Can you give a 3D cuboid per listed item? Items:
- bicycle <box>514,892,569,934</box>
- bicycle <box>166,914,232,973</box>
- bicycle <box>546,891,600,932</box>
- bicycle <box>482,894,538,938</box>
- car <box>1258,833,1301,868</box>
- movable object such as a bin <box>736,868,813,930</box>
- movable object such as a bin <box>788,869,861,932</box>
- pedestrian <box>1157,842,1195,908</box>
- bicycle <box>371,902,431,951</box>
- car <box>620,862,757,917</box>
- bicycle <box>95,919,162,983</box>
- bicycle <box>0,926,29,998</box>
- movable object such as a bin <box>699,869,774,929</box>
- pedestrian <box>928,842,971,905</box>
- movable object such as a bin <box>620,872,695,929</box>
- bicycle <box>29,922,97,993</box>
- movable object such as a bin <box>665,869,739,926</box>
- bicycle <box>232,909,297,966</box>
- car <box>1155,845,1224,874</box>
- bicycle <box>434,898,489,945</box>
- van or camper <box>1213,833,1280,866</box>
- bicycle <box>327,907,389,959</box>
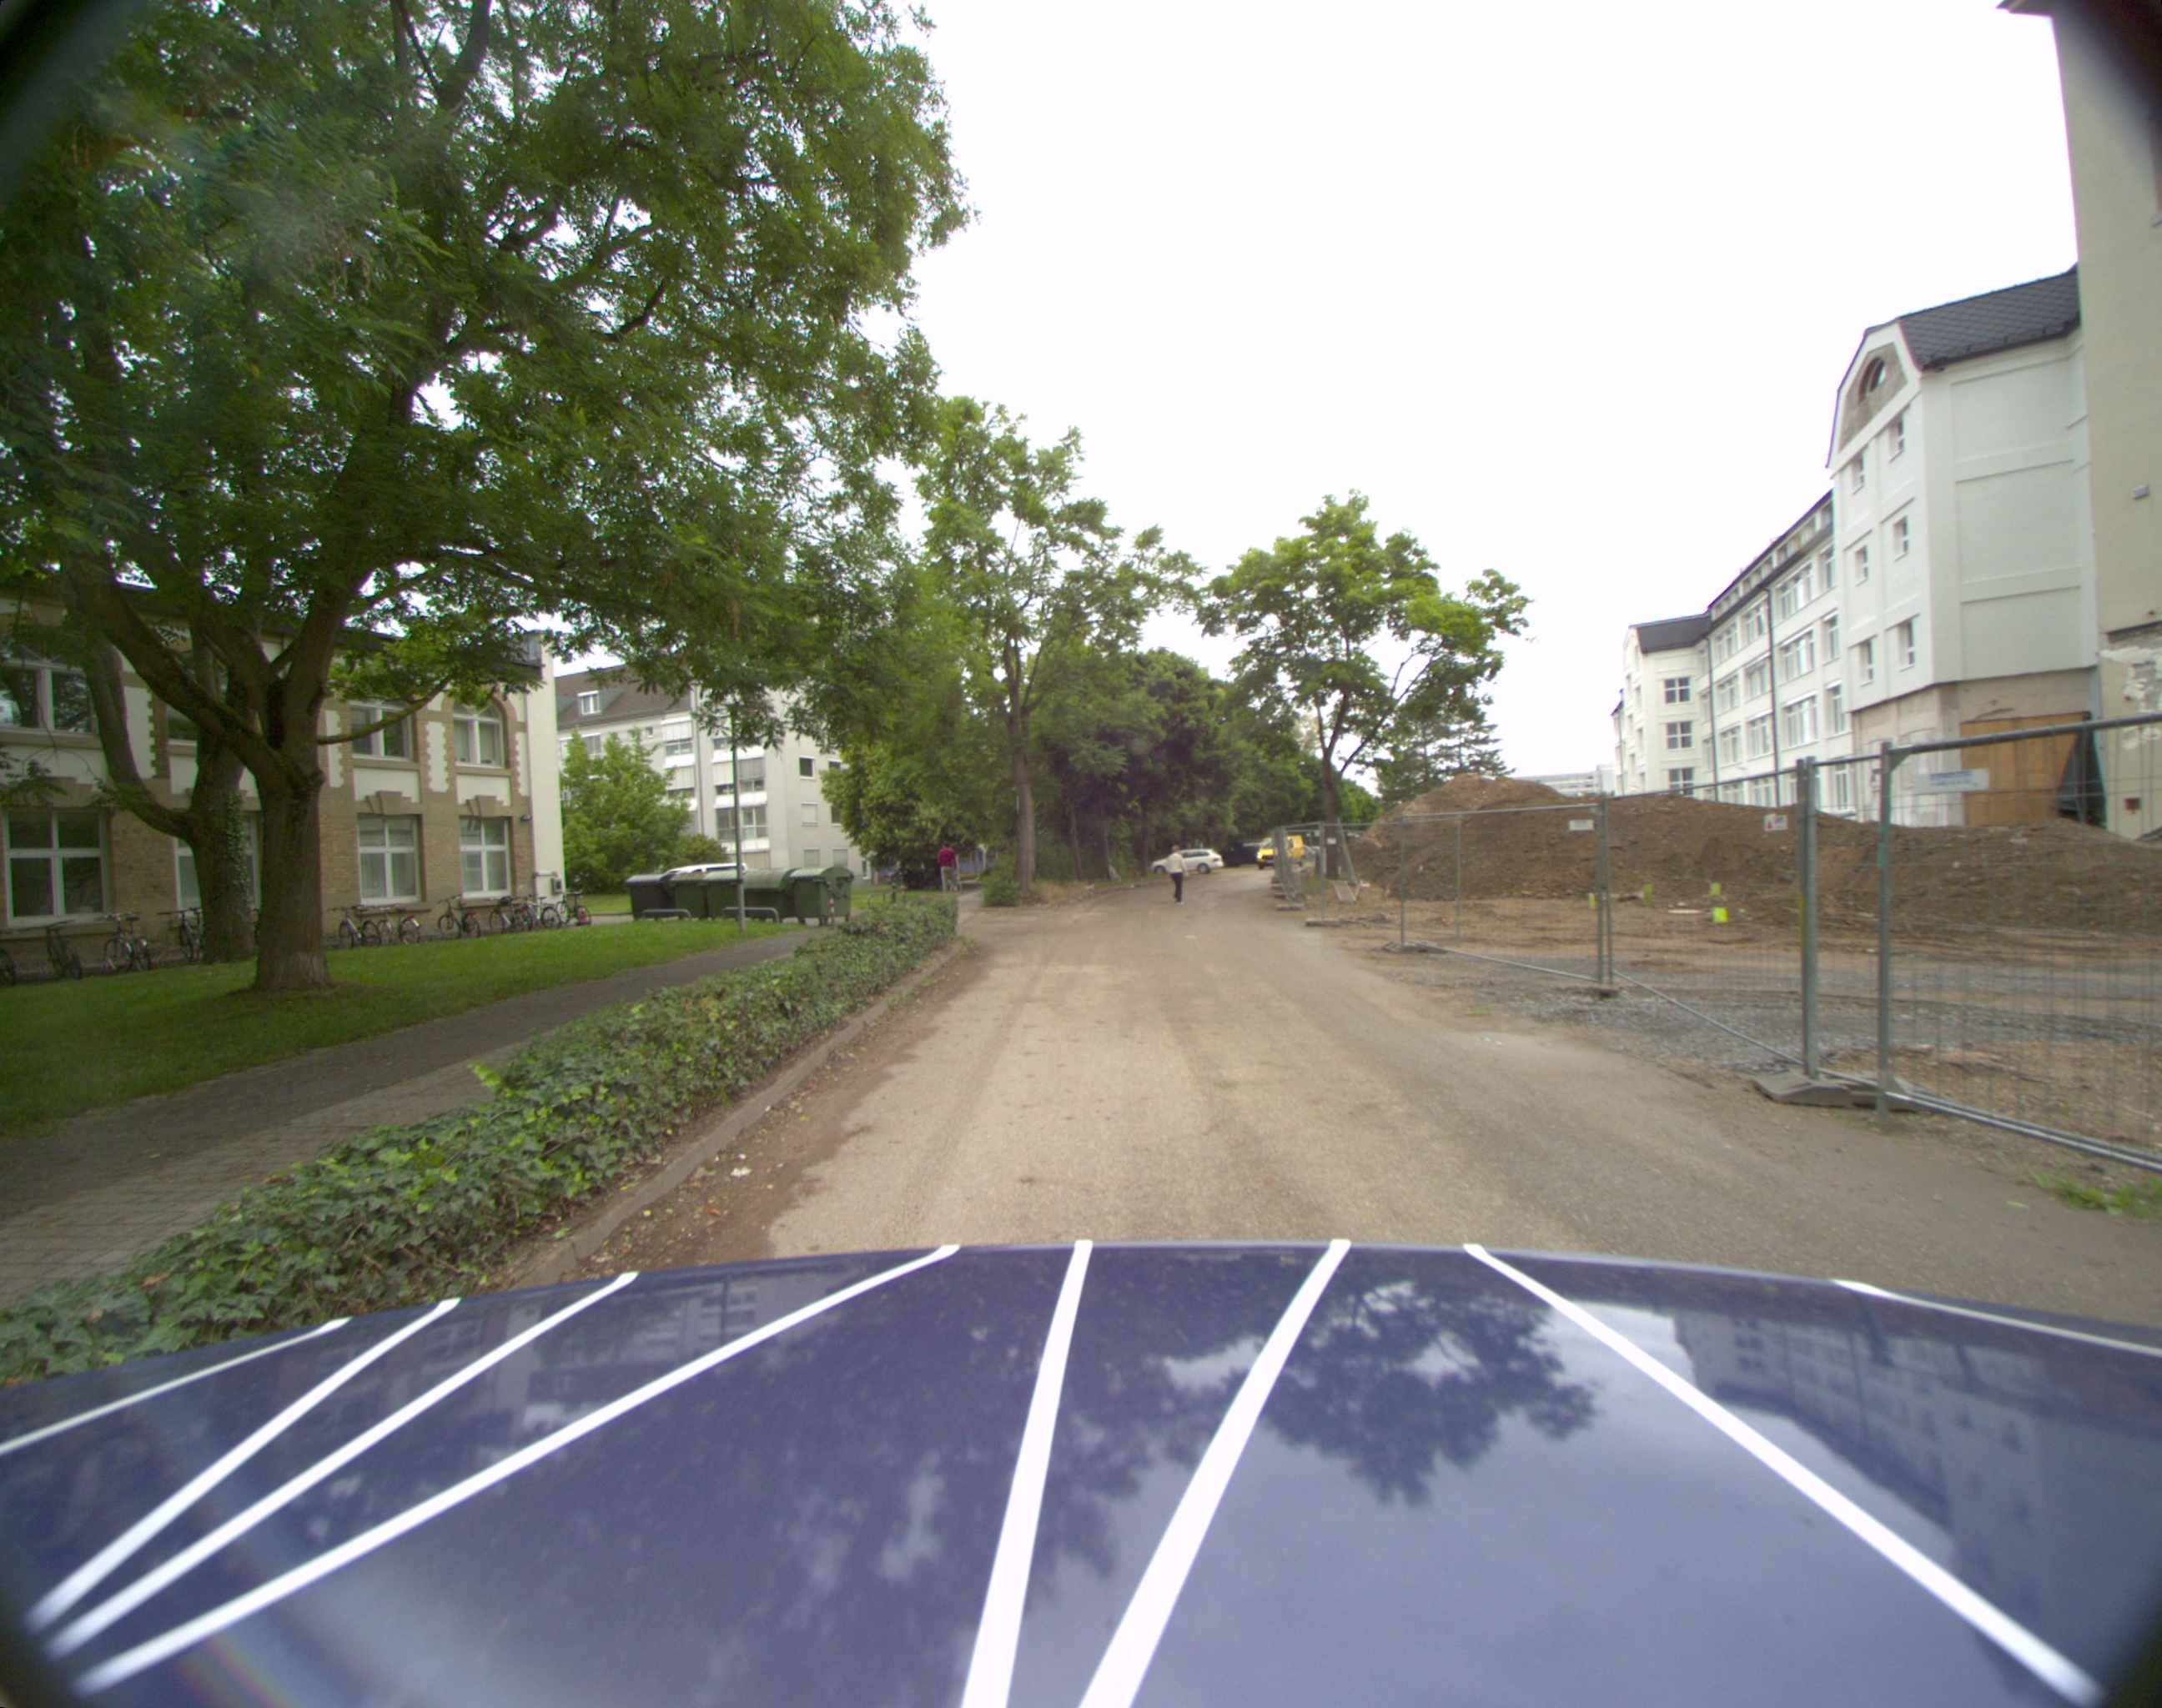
[{"bbox_3d":[-14.924,1.623,21.012,1.740,1.108,0.461,-3,1,28],"label":"bicycle"},{"bbox_3d":[-17.748,1.782,15.284,1.740,1.108,0.461,-3,1,28],"label":"bicycle"},{"bbox_3d":[-14.534,1.650,21.727,1.740,1.108,0.461,-3,1,28],"label":"bicycle"},{"bbox_3d":[-15.223,1.652,20.245,1.740,1.108,0.461,-3,1,28],"label":"bicycle"},{"bbox_3d":[12.442,-0.237,47.495,2.121,2.002,4.005,-2,0,20],"label":"car"},{"bbox_3d":[-7.643,1.117,18.985,1.283,1.442,1.110,-3,1,21],"label":"movable object such as a bin"},{"bbox_3d":[-6.244,1.105,18.493,1.272,1.426,1.074,-2,1,36],"label":"movable object such as a bin"},{"bbox_3d":[2.657,0.576,21.314,0.752,1.771,0.662,-3,1,-24],"label":"pedestrian"},{"bbox_3d":[-16.275,1.725,18.180,1.740,1.108,0.461,-3,1,28],"label":"bicycle"},{"bbox_3d":[-16.496,1.446,32.207,1.897,1.862,4.781,-5,-1,28],"label":"car"},{"bbox_3d":[-18.147,1.822,14.468,1.740,1.108,0.461,-3,1,28],"label":"bicycle"},{"bbox_3d":[-18.740,1.850,13.089,1.740,1.108,0.461,-1,1,28],"label":"bicycle"},{"bbox_3d":[-8.942,1.161,19.766,1.292,1.442,1.110,-3,1,21],"label":"movable object such as a bin"},{"bbox_3d":[-4.414,0.640,25.569,0.793,2.052,1.203,-2,1,23],"label":"pedestrian"},{"bbox_3d":[-11.640,1.274,20.896,1.359,1.442,1.110,-3,1,21],"label":"movable object such as a bin"},{"bbox_3d":[-18.416,1.849,13.738,1.740,1.108,0.461,0,2,28],"label":"bicycle"},{"bbox_3d":[-10.194,1.160,20.458,1.324,1.442,1.110,-3,1,21],"label":"movable object such as a bin"},{"bbox_3d":[-17.263,1.744,16.055,1.740,1.108,0.461,-2,1,28],"label":"bicycle"},{"bbox_3d":[6.547,0.331,45.926,3.879,1.565,1.754,-3,1,15],"label":"car"},{"bbox_3d":[-15.727,1.706,19.284,1.740,1.108,0.461,-3,1,30],"label":"bicycle"},{"bbox_3d":[12.461,-0.342,57.226,4.490,2.245,2.003,-2,1,27],"label":"van or camper"},{"bbox_3d":[-16.597,1.796,17.437,1.740,1.108,0.461,-3,1,28],"label":"bicycle"}]
